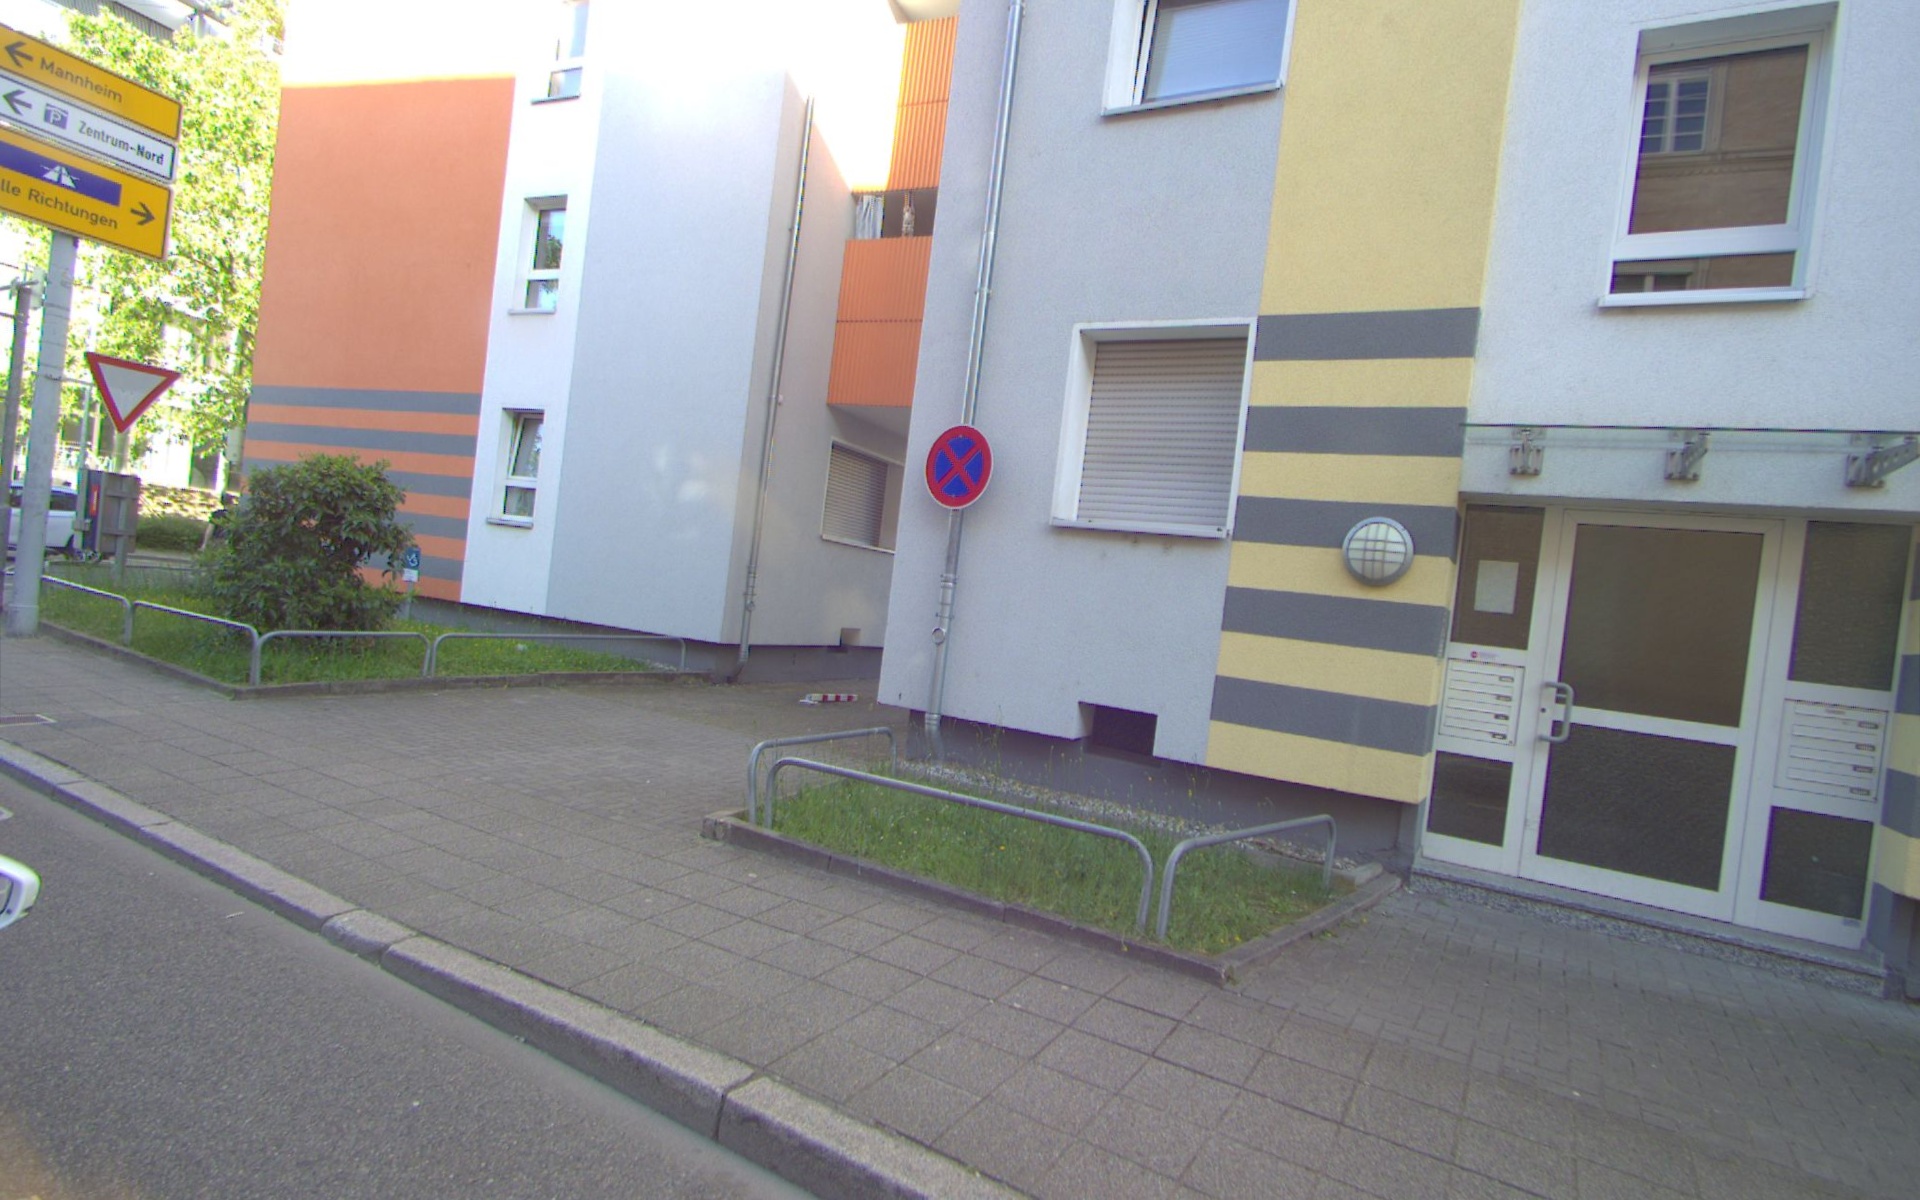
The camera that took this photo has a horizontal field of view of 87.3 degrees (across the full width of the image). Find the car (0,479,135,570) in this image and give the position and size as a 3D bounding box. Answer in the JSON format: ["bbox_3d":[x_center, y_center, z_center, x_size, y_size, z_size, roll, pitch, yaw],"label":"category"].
[{"bbox_3d":[-18.819,-1.606,19.248,1.686,1.532,4.372,7,-1,18],"label":"car"}]

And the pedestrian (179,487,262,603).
[{"bbox_3d":[-12.540,-0.906,17.072,0.690,1.831,0.719,7,-1,-9],"label":"pedestrian"}]

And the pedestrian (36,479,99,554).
[{"bbox_3d":[-23.820,-2.226,26.864,0.749,1.837,0.916,7,-1,31],"label":"pedestrian"}]
